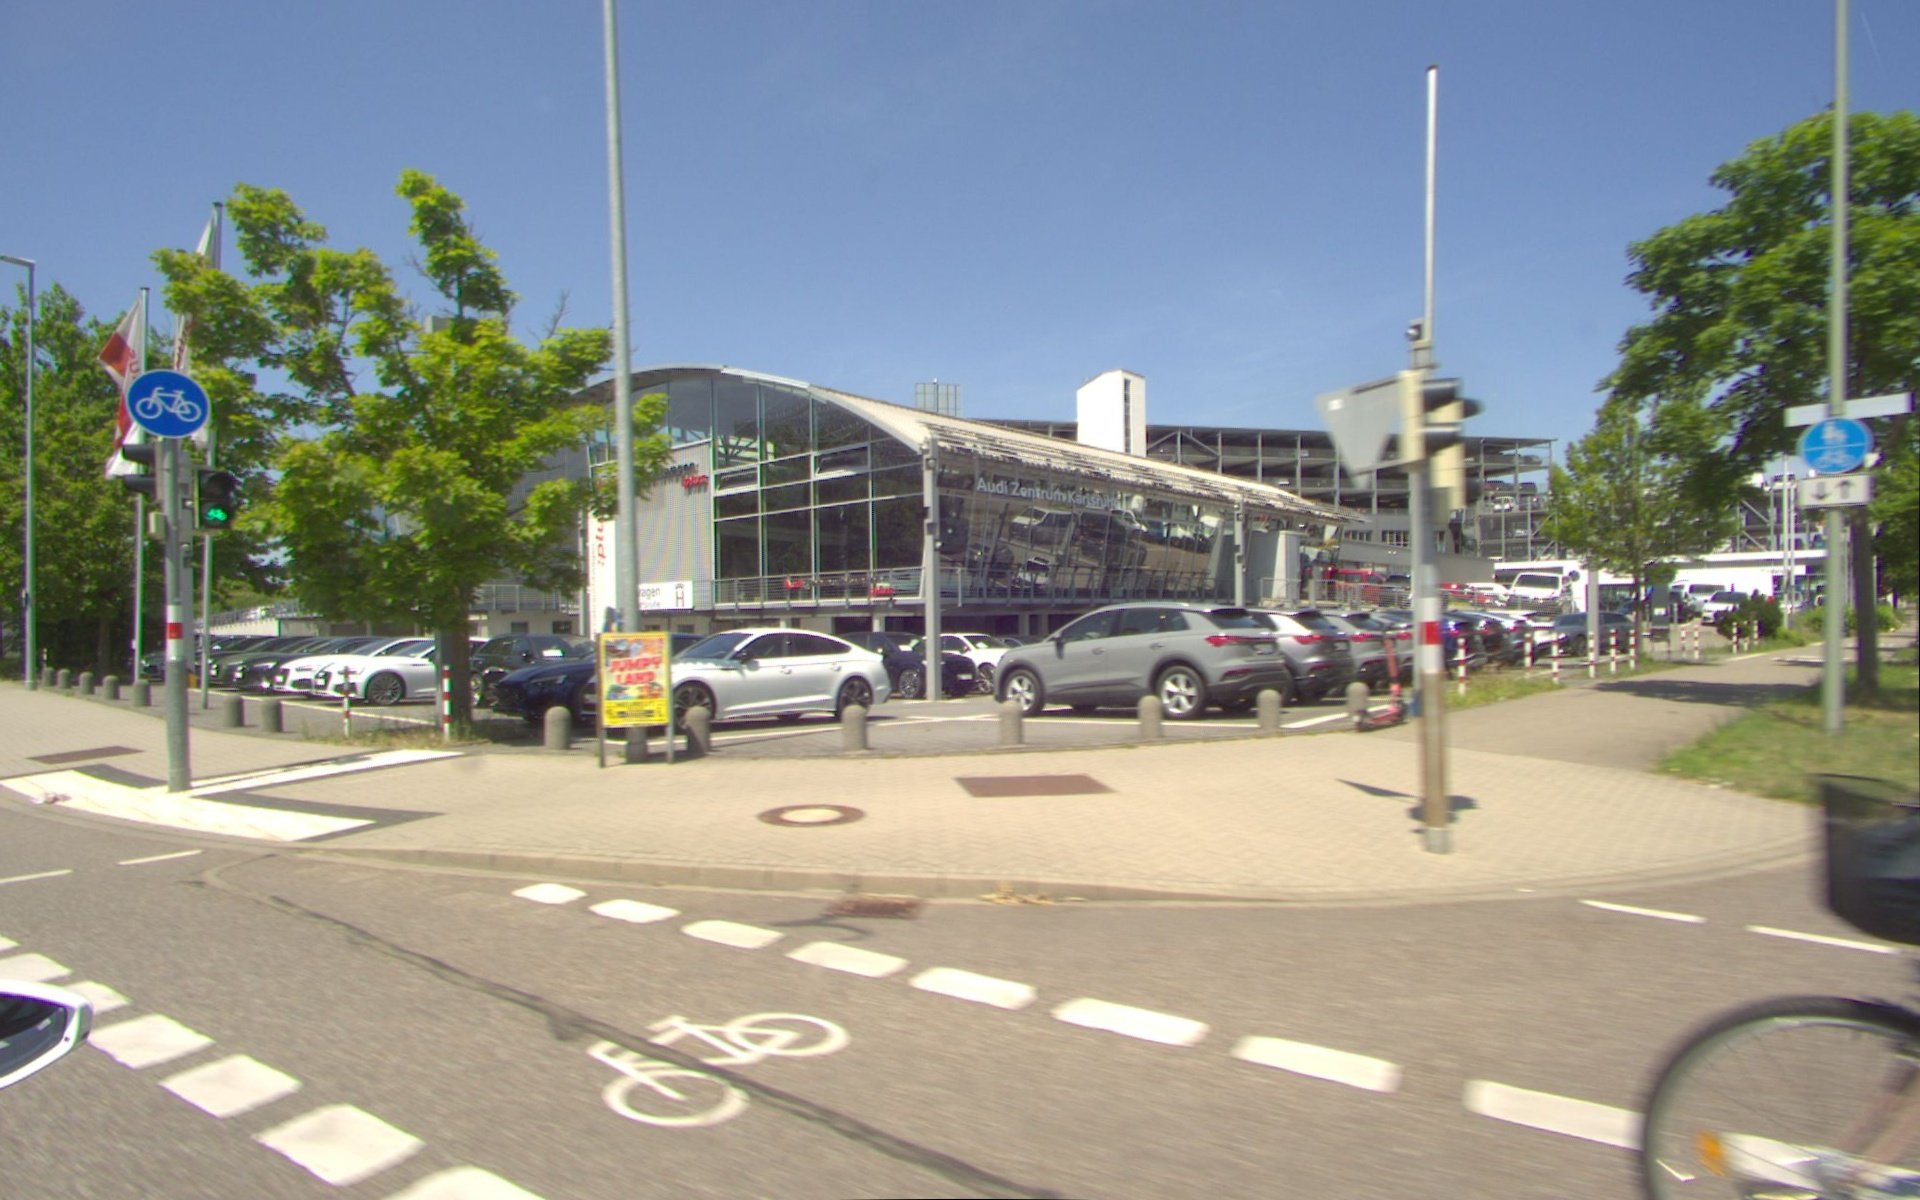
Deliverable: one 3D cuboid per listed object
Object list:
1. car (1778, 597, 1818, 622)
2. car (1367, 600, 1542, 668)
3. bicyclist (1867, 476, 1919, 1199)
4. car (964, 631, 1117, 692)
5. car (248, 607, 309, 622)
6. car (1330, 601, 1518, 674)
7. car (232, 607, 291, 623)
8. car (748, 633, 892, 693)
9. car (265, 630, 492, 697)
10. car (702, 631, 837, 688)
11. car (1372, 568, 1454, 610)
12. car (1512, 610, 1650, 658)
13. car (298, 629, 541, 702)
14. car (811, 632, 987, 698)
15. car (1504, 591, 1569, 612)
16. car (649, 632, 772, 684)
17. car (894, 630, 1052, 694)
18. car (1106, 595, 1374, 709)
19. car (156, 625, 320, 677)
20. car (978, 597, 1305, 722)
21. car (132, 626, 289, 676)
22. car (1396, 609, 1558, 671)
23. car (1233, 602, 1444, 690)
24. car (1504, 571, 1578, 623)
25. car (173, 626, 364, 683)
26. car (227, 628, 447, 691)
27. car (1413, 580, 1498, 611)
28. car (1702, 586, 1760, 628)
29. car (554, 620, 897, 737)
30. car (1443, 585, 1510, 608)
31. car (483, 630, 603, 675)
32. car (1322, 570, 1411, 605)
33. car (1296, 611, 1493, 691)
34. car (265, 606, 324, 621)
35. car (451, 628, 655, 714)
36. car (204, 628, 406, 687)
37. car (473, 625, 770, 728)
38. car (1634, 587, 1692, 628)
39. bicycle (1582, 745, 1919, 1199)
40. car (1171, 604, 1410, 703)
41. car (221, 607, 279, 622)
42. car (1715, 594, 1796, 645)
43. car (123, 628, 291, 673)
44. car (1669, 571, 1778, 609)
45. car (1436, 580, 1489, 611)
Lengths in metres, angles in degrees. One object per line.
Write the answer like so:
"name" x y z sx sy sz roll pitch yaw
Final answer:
"car" 54.241 0.629 64.779 1.764 1.541 3.655 -1 -1 44
"car" 13.220 0.887 26.853 3.947 1.676 1.838 -1 -1 37
"bicyclist" 2.281 0.556 1.763 0.811 1.626 0.629 0 -1 17
"car" 2.318 1.773 29.471 4.299 1.647 1.865 -2 -4 44
"car" -57.533 1.219 84.622 1.695 1.226 3.927 -1 -2 36
"car" 11.449 0.941 24.807 3.947 1.675 1.839 -1 -3 37
"car" -62.394 1.375 89.479 1.774 1.328 3.976 -1 -3 36
"car" -4.028 1.836 29.288 1.829 1.618 3.969 -1 -3 41
"car" -13.139 1.432 22.810 1.847 1.365 4.082 -1 -4 41
"car" -5.841 1.831 31.084 1.638 1.642 3.969 -1 -3 41
"car" 19.741 -0.445 43.544 1.894 1.730 4.547 -1 -1 44
"car" 21.393 1.117 34.485 4.542 1.491 1.843 -1 0 -25
"car" -11.205 1.349 20.981 1.853 1.381 4.079 -1 -4 41
"car" -1.640 1.616 25.700 4.667 1.534 1.865 -2 -4 44
"car" 46.802 0.139 81.330 4.310 1.674 1.897 -1 -1 42
"car" -8.158 1.908 32.947 1.623 1.600 3.632 -1 -3 41
"car" 0.300 1.679 27.760 4.264 1.647 1.865 -2 -4 44
"car" 4.606 0.854 16.782 3.957 1.675 1.834 -2 -4 44
"car" -21.618 1.534 30.067 1.813 1.471 3.666 -1 -3 41
"car" 2.564 0.840 14.873 4.455 1.578 1.858 -3 -1 42
"car" -23.623 1.611 31.660 1.813 1.471 3.666 -1 -3 41
"car" 14.899 1.165 28.934 3.947 1.675 1.839 -1 -3 37
"car" 7.773 0.884 20.706 3.768 1.637 1.631 0 -1 37
"car" 23.539 -0.079 40.457 1.890 1.992 5.215 -1 -1 38
"car" -19.433 1.533 28.260 1.847 1.471 4.084 -1 -4 41
"car" -15.146 1.451 24.515 1.847 1.407 4.208 -1 -4 41
"car" 31.442 -0.248 63.597 4.538 1.820 1.897 -1 -1 42
"car" 34.626 0.375 44.958 1.976 1.727 3.972 -1 -3 39
"car" -3.188 1.078 14.404 1.848 1.407 4.572 -1 -4 42
"car" 39.599 -0.219 76.789 4.306 1.674 1.899 -1 -1 40
"car" -16.421 2.082 39.593 1.829 1.675 3.969 -1 -3 41
"car" 21.397 -0.621 52.744 4.093 1.744 1.903 -1 -1 34
"car" 9.816 1.120 22.742 3.861 1.675 1.623 -1 -2 37
"car" -55.157 1.139 83.008 1.662 1.145 3.714 -1 -3 36
"car" -7.869 1.296 19.153 4.613 1.437 1.854 -2 -4 43
"car" -17.117 1.495 26.328 1.847 1.422 4.084 -1 -4 41
"car" -5.222 1.168 15.851 1.847 1.407 4.079 -1 -4 41
"car" 32.510 0.393 46.279 1.976 1.727 3.972 -1 -3 39
"bicycle" 2.267 0.906 1.787 1.861 1.148 0.629 0 0 17
"car" 6.214 0.988 18.984 3.947 1.675 1.839 -1 -3 37
"car" -64.882 1.315 91.520 1.774 1.329 3.974 -1 -1 36
"car" 28.673 0.665 36.028 1.894 1.716 4.547 -1 -1 44
"car" -25.317 1.703 33.774 1.795 1.419 4.214 -1 -3 41
"car" 40.310 -0.492 52.940 4.534 1.911 1.899 -1 -1 40
"car" 30.282 -0.224 60.249 1.864 1.728 3.966 -1 -1 42
